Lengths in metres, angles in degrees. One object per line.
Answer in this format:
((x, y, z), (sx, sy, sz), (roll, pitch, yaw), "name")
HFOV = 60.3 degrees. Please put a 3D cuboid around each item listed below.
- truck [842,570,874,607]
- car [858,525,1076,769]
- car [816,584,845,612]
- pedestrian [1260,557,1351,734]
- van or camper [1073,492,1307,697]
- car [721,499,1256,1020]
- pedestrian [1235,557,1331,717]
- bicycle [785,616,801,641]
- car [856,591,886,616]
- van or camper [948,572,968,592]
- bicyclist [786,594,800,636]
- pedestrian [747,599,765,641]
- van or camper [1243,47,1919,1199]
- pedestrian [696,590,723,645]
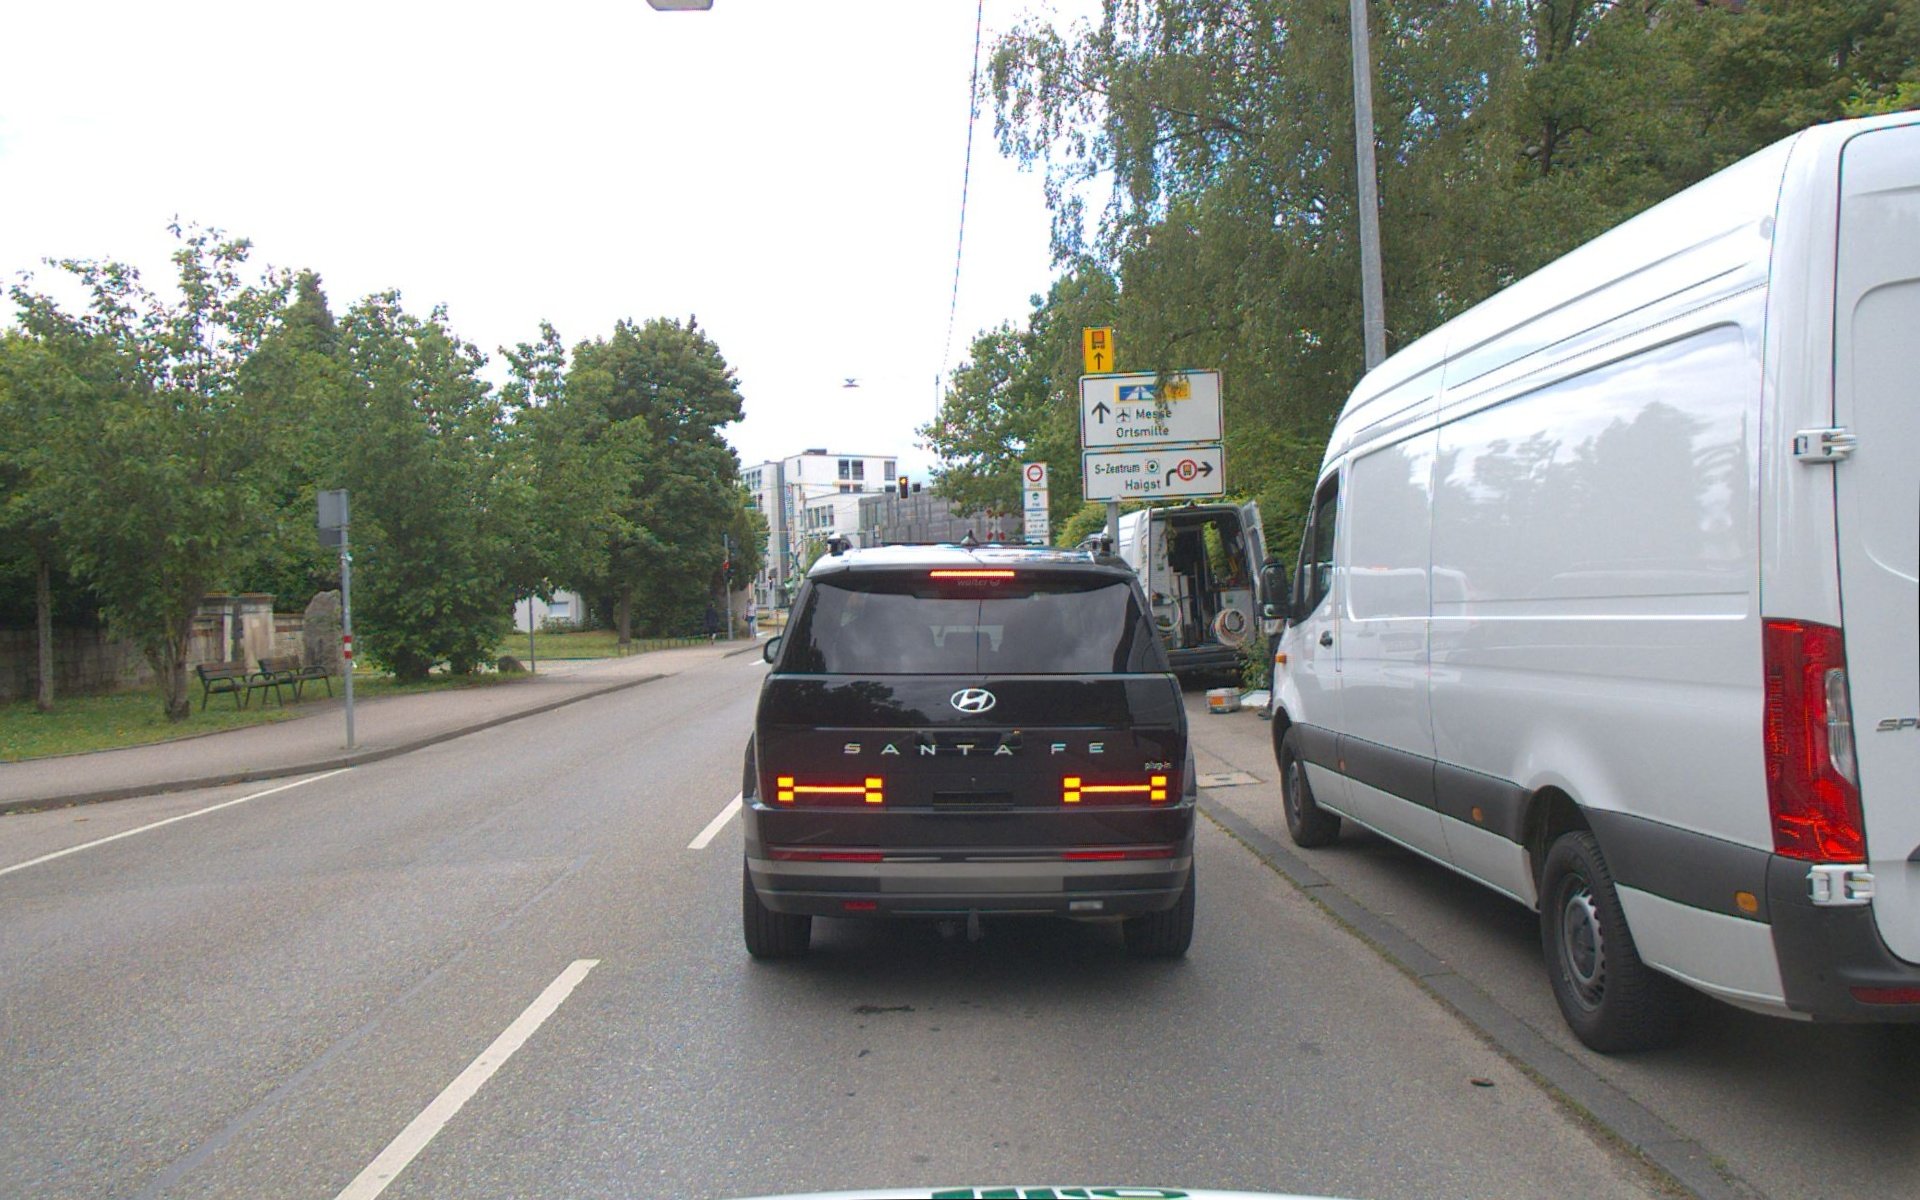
((-11.568, -1.256, 187.057), (3.048, 3.926, 9.607), (-2, 0, -6), "truck")
((0.033, 0.415, 16.329), (1.858, 2.077, 3.993), (1, 0, -1), "car")
((-11.327, -0.171, 144.087), (2.288, 2.356, 4.950), (-2, 0, -7), "car")
((3.418, 0.443, 16.416), (0.721, 1.672, 0.802), (-3, -1, 5), "pedestrian")
((3.292, -0.025, 25.317), (2.294, 2.537, 6.600), (-5, -1, -2), "van or camper")
((0.078, 0.573, 7.829), (1.858, 1.807, 3.993), (1, 0, -1), "car")
((3.629, 0.406, 18.579), (0.778, 1.751, 0.747), (0, -1, 43), "pedestrian")
((-6.885, 1.164, 68.221), (0.485, 0.981, 1.748), (1, 0, -1), "bicycle")
((-5.762, 0.229, 107.823), (1.721, 1.427, 4.413), (-4, 0, -1), "car")
((-0.210, -1.898, 172.503), (1.760, 2.033, 3.820), (1, 0, -4), "van or camper")
((-6.880, 0.603, 68.151), (0.477, 1.713, 0.588), (1, -1, -1), "bicyclist")
((-8.842, 0.854, 71.716), (0.752, 1.779, 0.903), (0, 0, -7), "pedestrian")
((2.884, 0.033, 7.036), (1.951, 2.670, 6.543), (-5, 0, -1), "van or camper")
((-9.476, 0.655, 62.616), (0.812, 2.049, 1.047), (1, -1, 1), "pedestrian")
